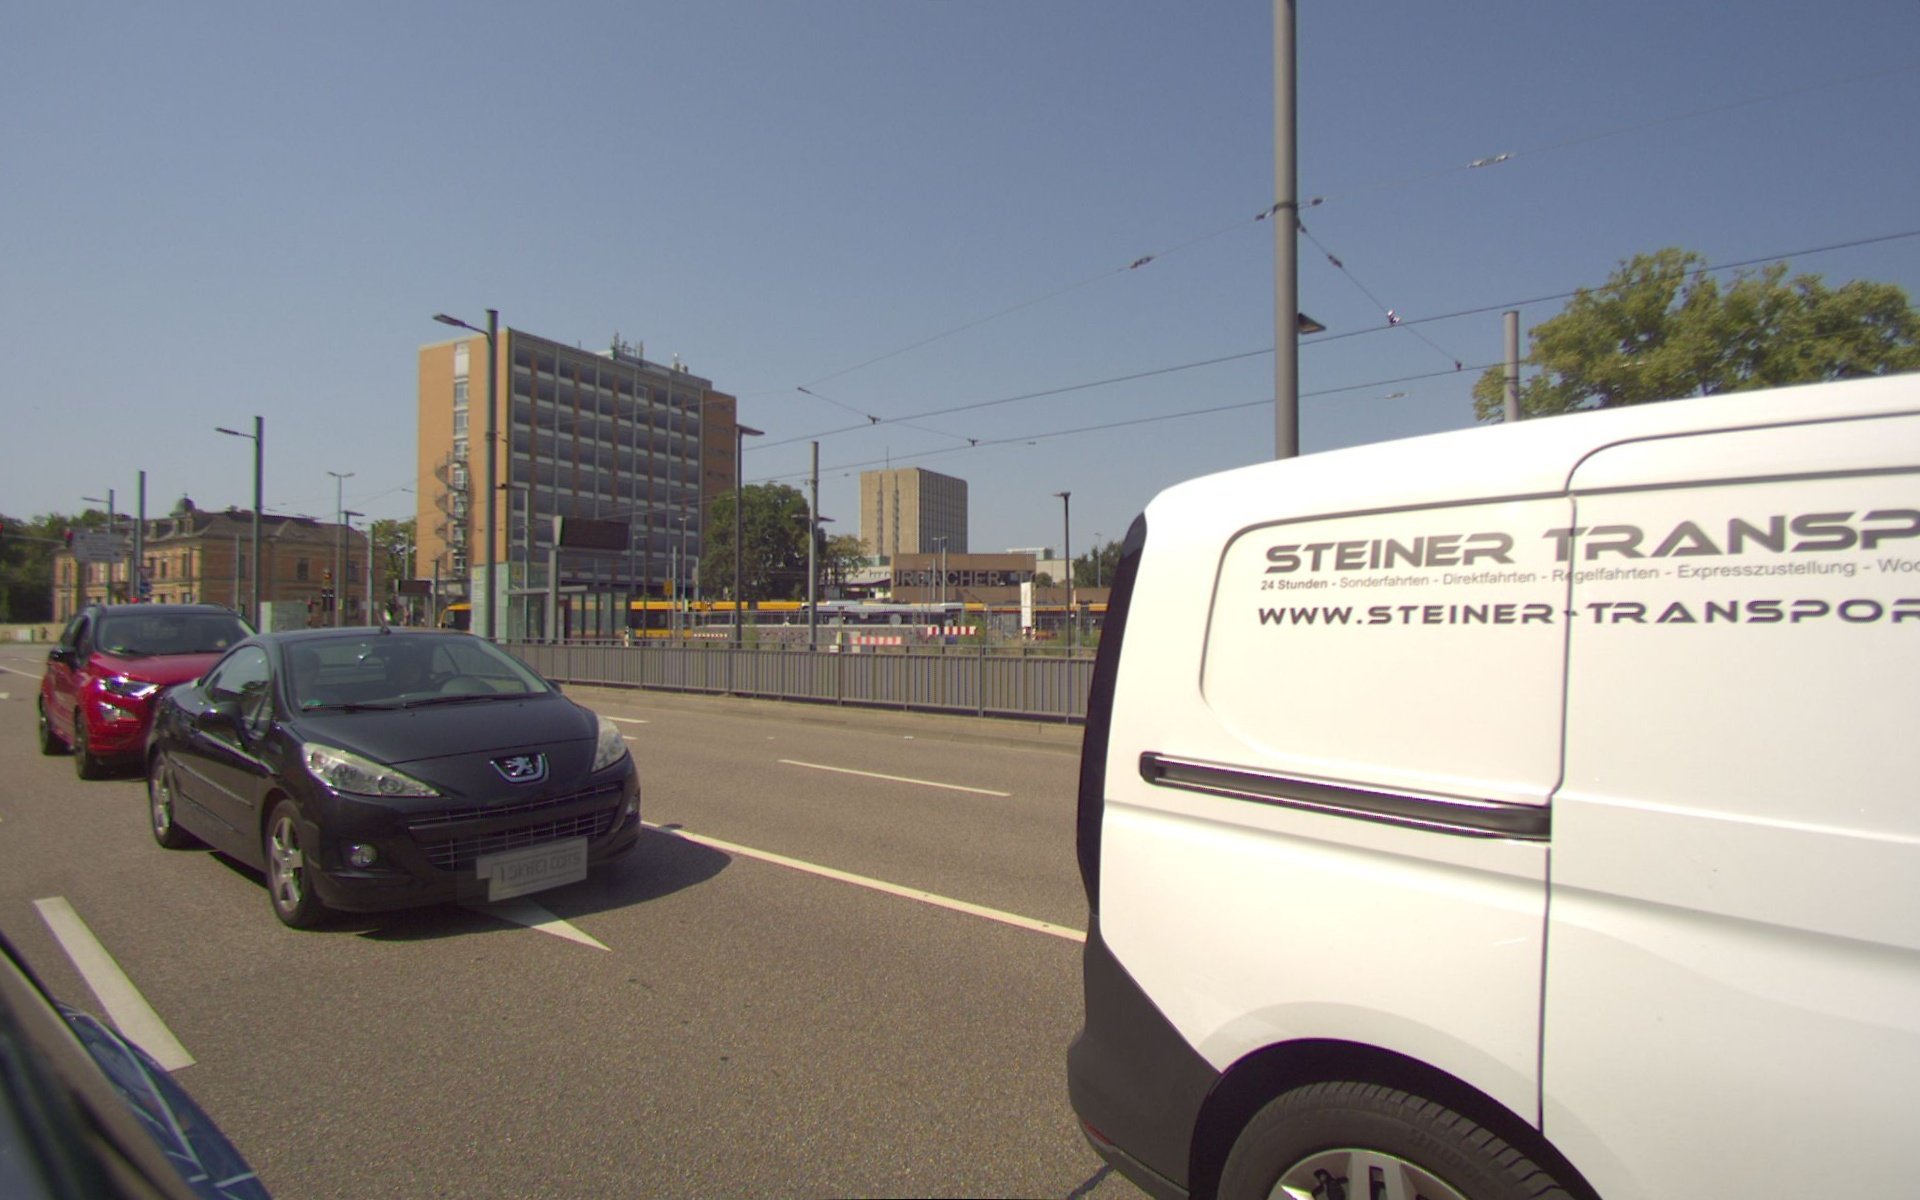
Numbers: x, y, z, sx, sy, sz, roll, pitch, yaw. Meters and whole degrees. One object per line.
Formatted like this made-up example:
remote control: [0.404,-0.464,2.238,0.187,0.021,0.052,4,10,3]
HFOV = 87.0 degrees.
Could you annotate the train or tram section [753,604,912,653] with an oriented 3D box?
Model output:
train or tram section: [-9.930,2.230,79.257,12.179,3.794,2.002,0,-2,-5]

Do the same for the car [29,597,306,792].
car: [-8.251,0.823,10.406,3.967,1.633,1.612,-1,-1,42]

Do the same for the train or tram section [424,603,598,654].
train or tram section: [-34.194,2.207,77.336,12.179,3.794,2.002,0,-2,-5]

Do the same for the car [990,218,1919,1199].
car: [2.224,0.465,1.326,4.237,1.834,1.729,-2,-1,41]

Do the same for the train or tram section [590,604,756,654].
train or tram section: [-22.045,2.241,78.298,12.179,3.794,2.002,0,-2,-5]

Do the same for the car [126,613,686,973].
car: [-3.423,0.816,5.941,3.799,1.424,1.671,-1,-1,41]

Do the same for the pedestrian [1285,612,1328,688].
pedestrian: [8.384,1.195,24.495,0.761,1.801,0.735,-2,-3,41]

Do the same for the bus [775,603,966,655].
bus: [-6.374,2.034,72.553,13.204,3.319,3.354,-1,0,-4]
